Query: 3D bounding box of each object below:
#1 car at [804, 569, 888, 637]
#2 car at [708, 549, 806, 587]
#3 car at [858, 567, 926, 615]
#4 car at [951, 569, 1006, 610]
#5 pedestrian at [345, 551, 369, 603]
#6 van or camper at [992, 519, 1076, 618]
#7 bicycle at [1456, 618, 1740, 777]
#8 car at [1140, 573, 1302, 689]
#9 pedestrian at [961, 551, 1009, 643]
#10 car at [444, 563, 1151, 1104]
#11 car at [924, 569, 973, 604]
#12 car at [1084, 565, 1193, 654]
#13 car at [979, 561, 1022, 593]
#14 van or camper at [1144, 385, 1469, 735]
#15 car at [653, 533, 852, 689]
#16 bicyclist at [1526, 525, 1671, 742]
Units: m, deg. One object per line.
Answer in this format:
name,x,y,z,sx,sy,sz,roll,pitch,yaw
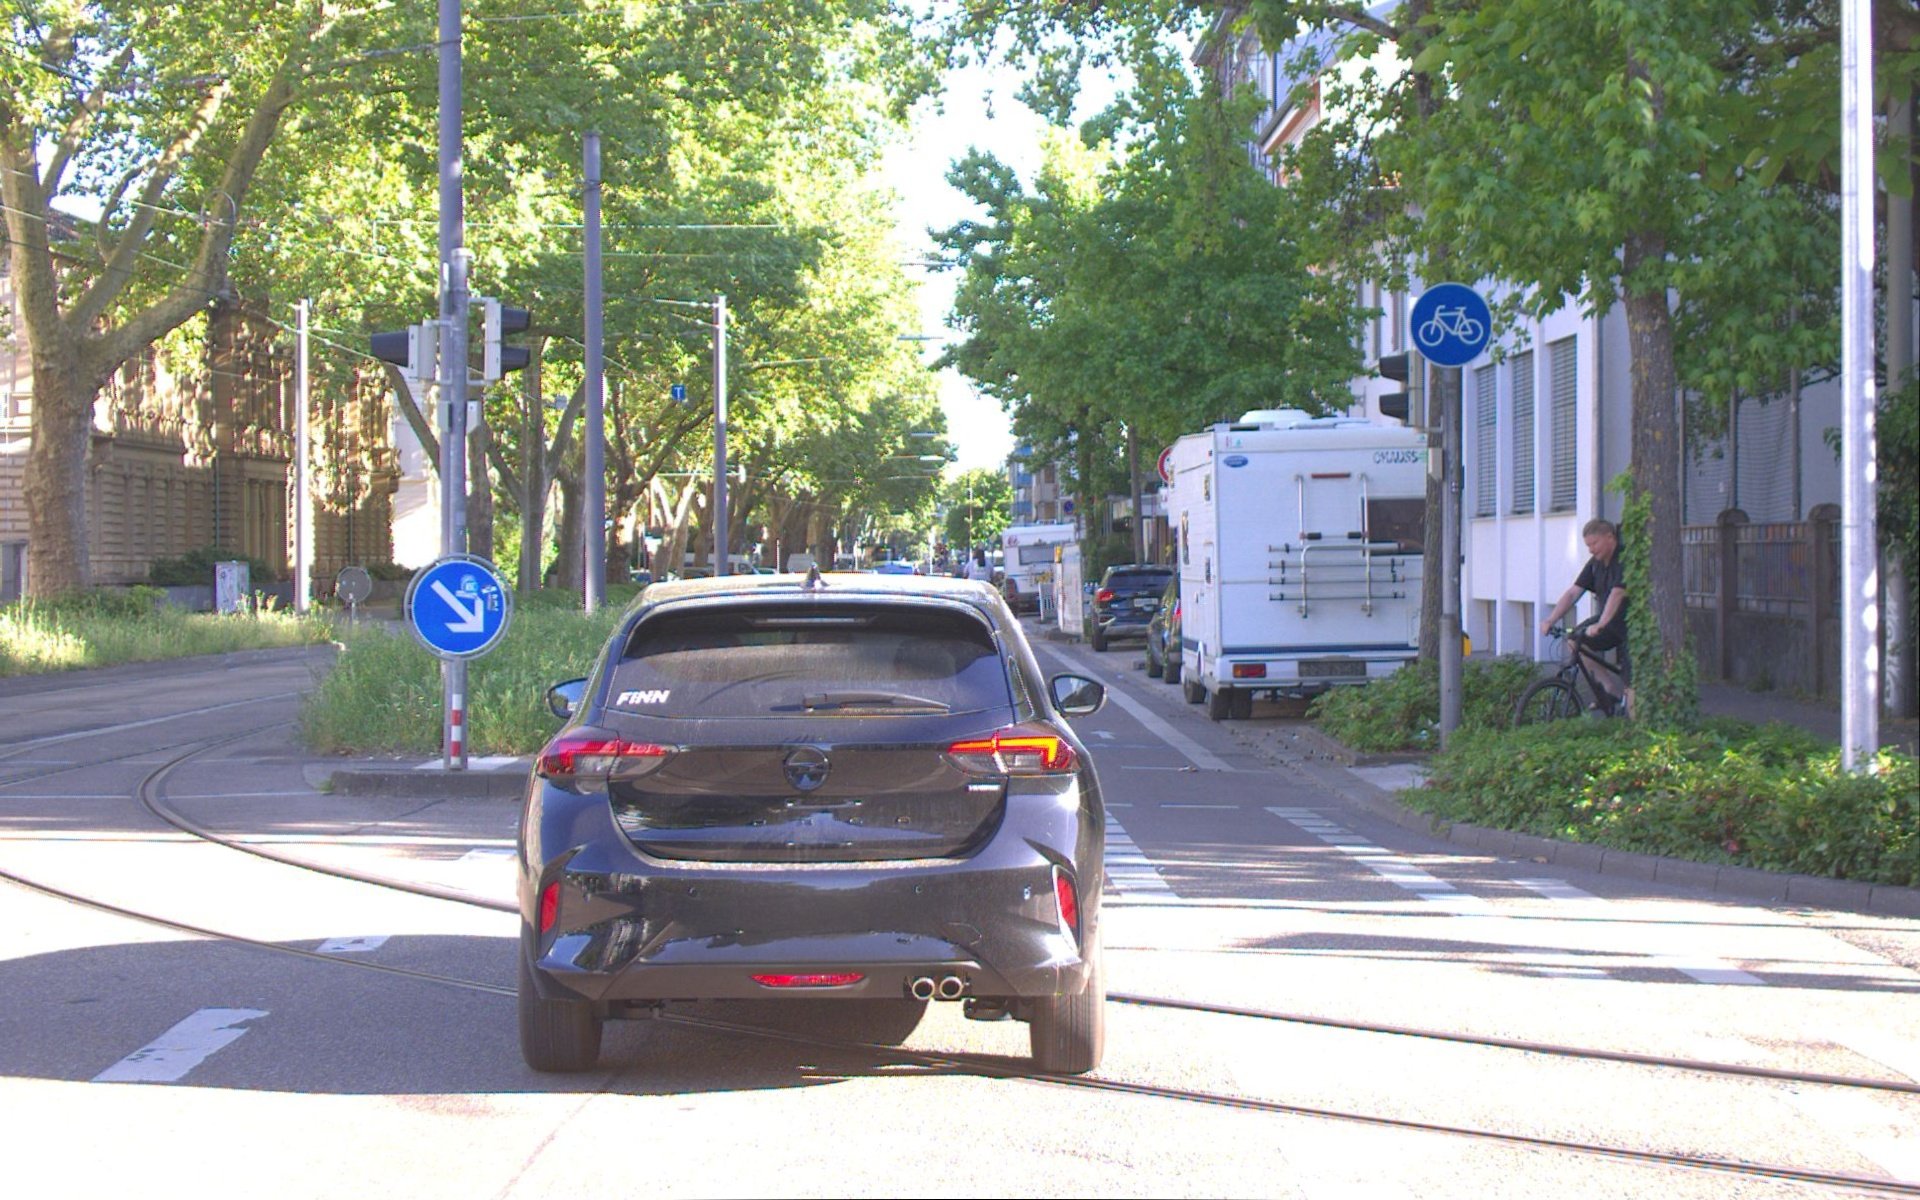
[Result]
car,-2.697,0.050,82.314,1.790,1.505,3.874,-2,1,1
car,-12.114,-1.910,205.033,5.687,2.190,2.289,0,1,1
car,-2.059,-0.295,105.095,1.905,1.420,4.215,0,1,1
car,0.671,-0.386,123.414,1.905,1.420,4.215,0,1,1
pedestrian,-20.306,-0.786,115.780,0.618,1.727,0.596,2,1,0
van or camper,2.344,-1.013,108.872,2.486,2.983,5.434,2,1,1
bicycle,4.503,0.673,24.237,1.944,1.066,0.641,0,1,-24
car,3.403,0.379,45.400,1.685,1.416,4.049,-1,1,-2
pedestrian,0.548,-0.075,76.658,1.036,2.017,1.212,0,1,-1
car,-0.391,0.607,11.375,1.905,1.420,4.215,0,1,1
car,-0.461,-0.574,143.661,1.905,1.420,4.215,0,1,1
car,3.210,0.141,62.507,1.790,1.505,3.874,-2,1,1
car,1.841,-1.059,155.435,1.905,1.420,4.215,0,1,1
van or camper,3.406,-0.418,35.533,2.375,3.114,7.551,-3,1,-1
car,-2.326,0.093,39.643,1.993,1.622,4.470,2,1,0
bicyclist,4.496,0.224,24.246,0.699,1.504,0.751,0,1,-24
